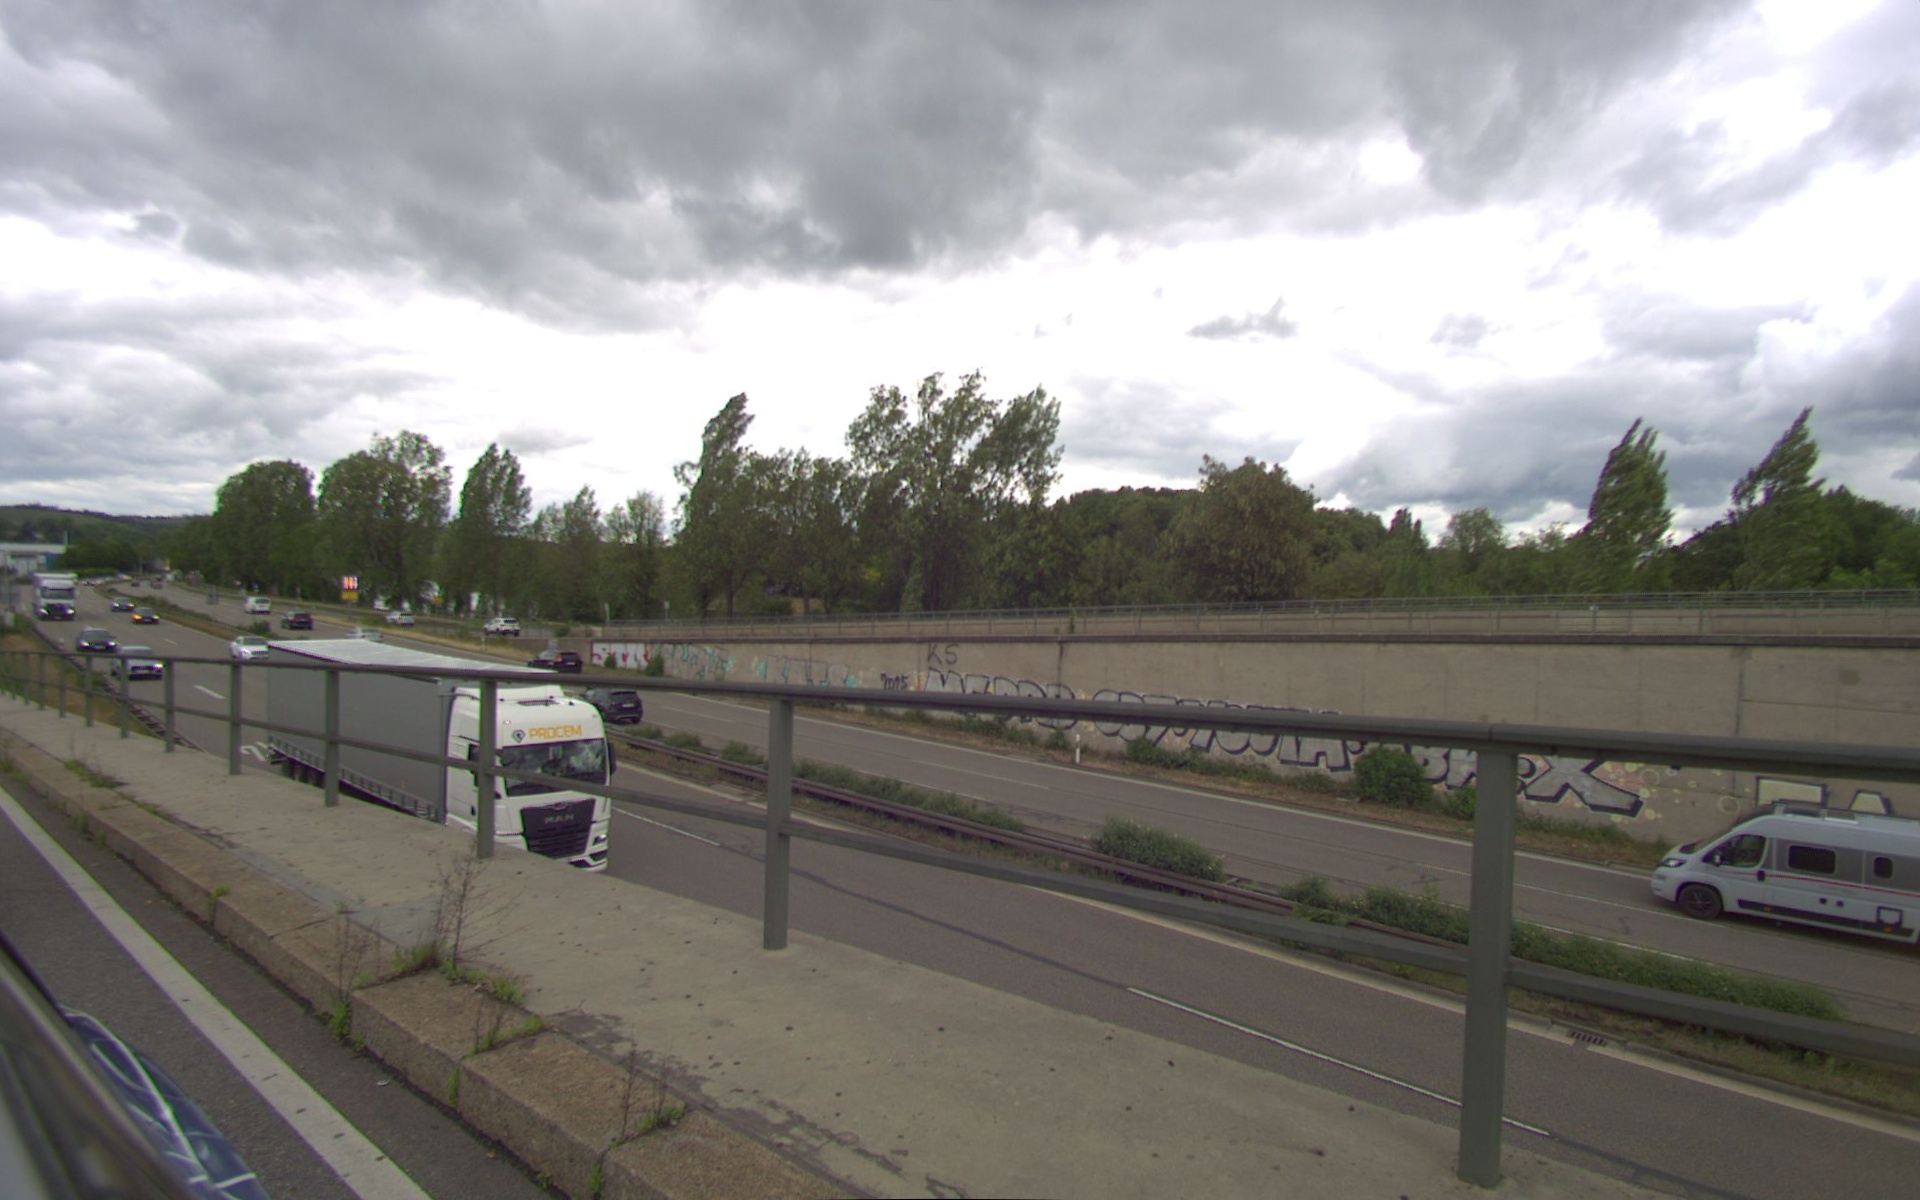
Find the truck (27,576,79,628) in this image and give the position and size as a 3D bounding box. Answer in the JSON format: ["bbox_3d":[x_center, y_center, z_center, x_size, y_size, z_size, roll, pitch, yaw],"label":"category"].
[{"bbox_3d":[-86.919,0.070,96.897,11.131,4.559,3.136,3,1,45],"label":"truck"}]

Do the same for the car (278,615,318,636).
[{"bbox_3d":[-61.895,2.378,94.606,4.550,1.751,1.896,2,0,40],"label":"car"}]

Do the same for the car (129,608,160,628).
[{"bbox_3d":[-76.291,1.681,94.691,4.168,1.619,1.833,3,1,45],"label":"car"}]

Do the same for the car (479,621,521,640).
[{"bbox_3d":[-40.252,2.672,88.538,4.346,1.588,1.812,-2,-1,43],"label":"car"}]

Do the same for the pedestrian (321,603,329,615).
[{"bbox_3d":[-95.309,1.333,151.917,1.078,1.718,0.820,3,2,43],"label":"pedestrian"}]

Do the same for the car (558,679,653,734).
[{"bbox_3d":[-15.548,4.616,44.306,4.422,1.855,1.973,2,0,41],"label":"car"}]

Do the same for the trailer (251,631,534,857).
[{"bbox_3d":[-15.989,3.318,27.644,13.152,4.283,2.721,2,0,43],"label":"trailer"}]

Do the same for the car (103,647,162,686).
[{"bbox_3d":[-43.211,3.444,52.800,4.166,1.619,1.834,2,1,43],"label":"car"}]

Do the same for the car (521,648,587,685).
[{"bbox_3d":[-24.904,4.037,62.033,4.408,1.855,1.911,2,1,41],"label":"car"}]

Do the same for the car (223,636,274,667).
[{"bbox_3d":[-45.006,3.212,63.984,4.166,1.619,1.834,2,1,43],"label":"car"}]

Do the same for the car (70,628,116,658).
[{"bbox_3d":[-56.372,2.752,65.798,4.166,1.619,1.834,2,1,43],"label":"car"}]

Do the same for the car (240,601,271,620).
[{"bbox_3d":[-84.179,1.212,120.864,5.177,2.082,1.972,2,1,42],"label":"car"}]

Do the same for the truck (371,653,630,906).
[{"bbox_3d":[-10.318,3.549,22.349,6.699,4.283,2.721,2,0,43],"label":"truck"}]

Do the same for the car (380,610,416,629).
[{"bbox_3d":[-59.364,2.077,106.844,4.211,1.884,1.973,-2,-1,41],"label":"car"}]

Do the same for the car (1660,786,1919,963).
[{"bbox_3d":[18.287,5.665,20.741,6.322,2.553,2.063,2,0,39],"label":"car"}]

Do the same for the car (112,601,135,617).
[{"bbox_3d":[-94.717,1.002,114.554,1.832,1.619,4.171,1,1,-42],"label":"car"}]

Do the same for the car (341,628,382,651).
[{"bbox_3d":[-46.362,3.017,78.388,4.089,1.539,1.709,2,0,45],"label":"car"}]
